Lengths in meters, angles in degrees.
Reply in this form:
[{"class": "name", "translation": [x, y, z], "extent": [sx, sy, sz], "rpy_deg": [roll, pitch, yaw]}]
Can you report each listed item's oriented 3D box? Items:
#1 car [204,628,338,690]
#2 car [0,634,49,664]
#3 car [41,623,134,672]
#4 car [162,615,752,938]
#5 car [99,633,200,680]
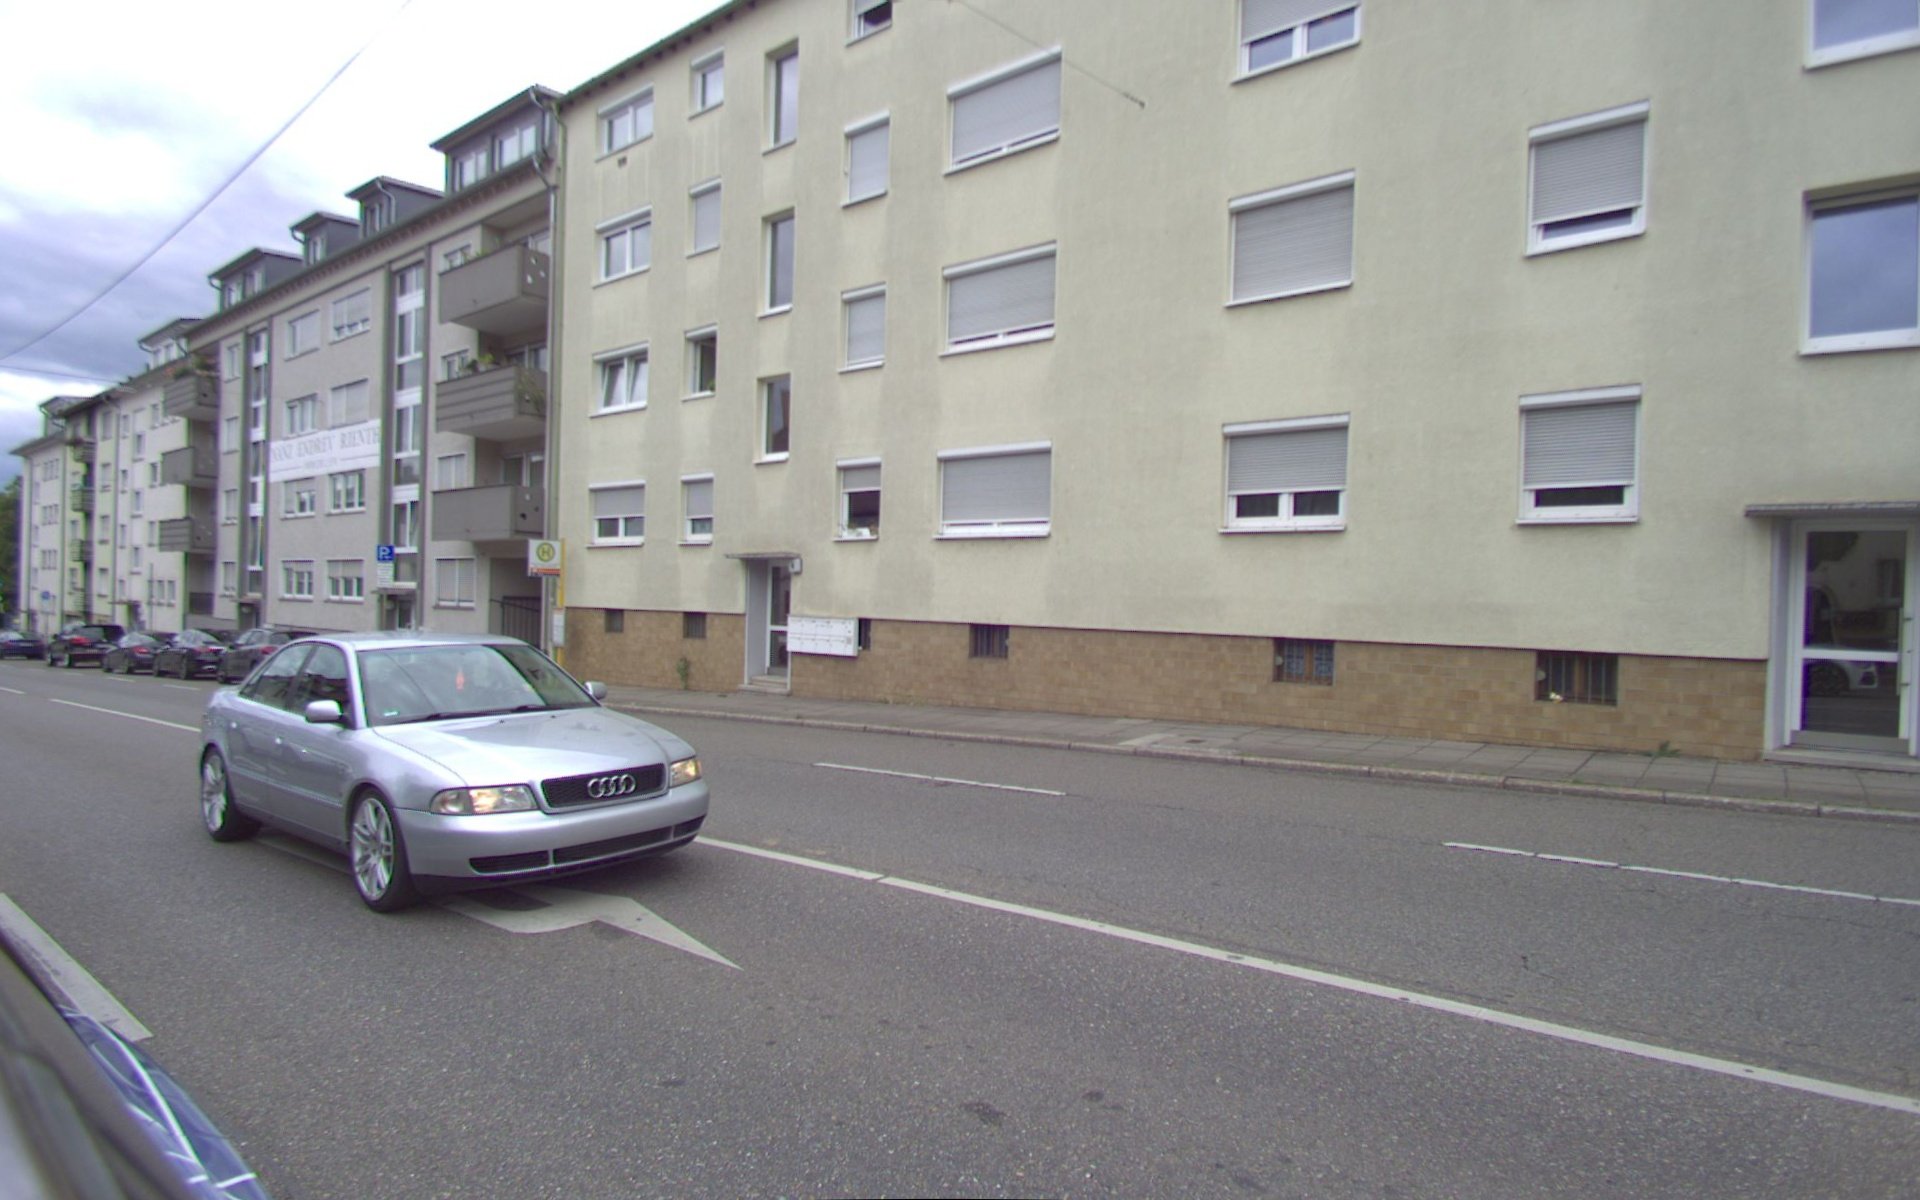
[{"class": "car", "translation": [-17.808, 1.493, 26.115], "extent": [3.797, 1.447, 1.751], "rpy_deg": [-1, -4, 39]}, {"class": "car", "translation": [-46.412, 2.381, 49.728], "extent": [4.305, 1.391, 1.851], "rpy_deg": [-1, -4, 41]}, {"class": "car", "translation": [-33.563, 1.810, 38.895], "extent": [4.302, 1.767, 1.852], "rpy_deg": [-1, -4, 39]}, {"class": "car", "translation": [-3.341, 0.840, 6.354], "extent": [4.171, 1.383, 1.680], "rpy_deg": [-2, -2, 38]}, {"class": "car", "translation": [-26.428, 1.790, 32.956], "extent": [4.304, 1.416, 1.750], "rpy_deg": [-1, -2, 40]}]
